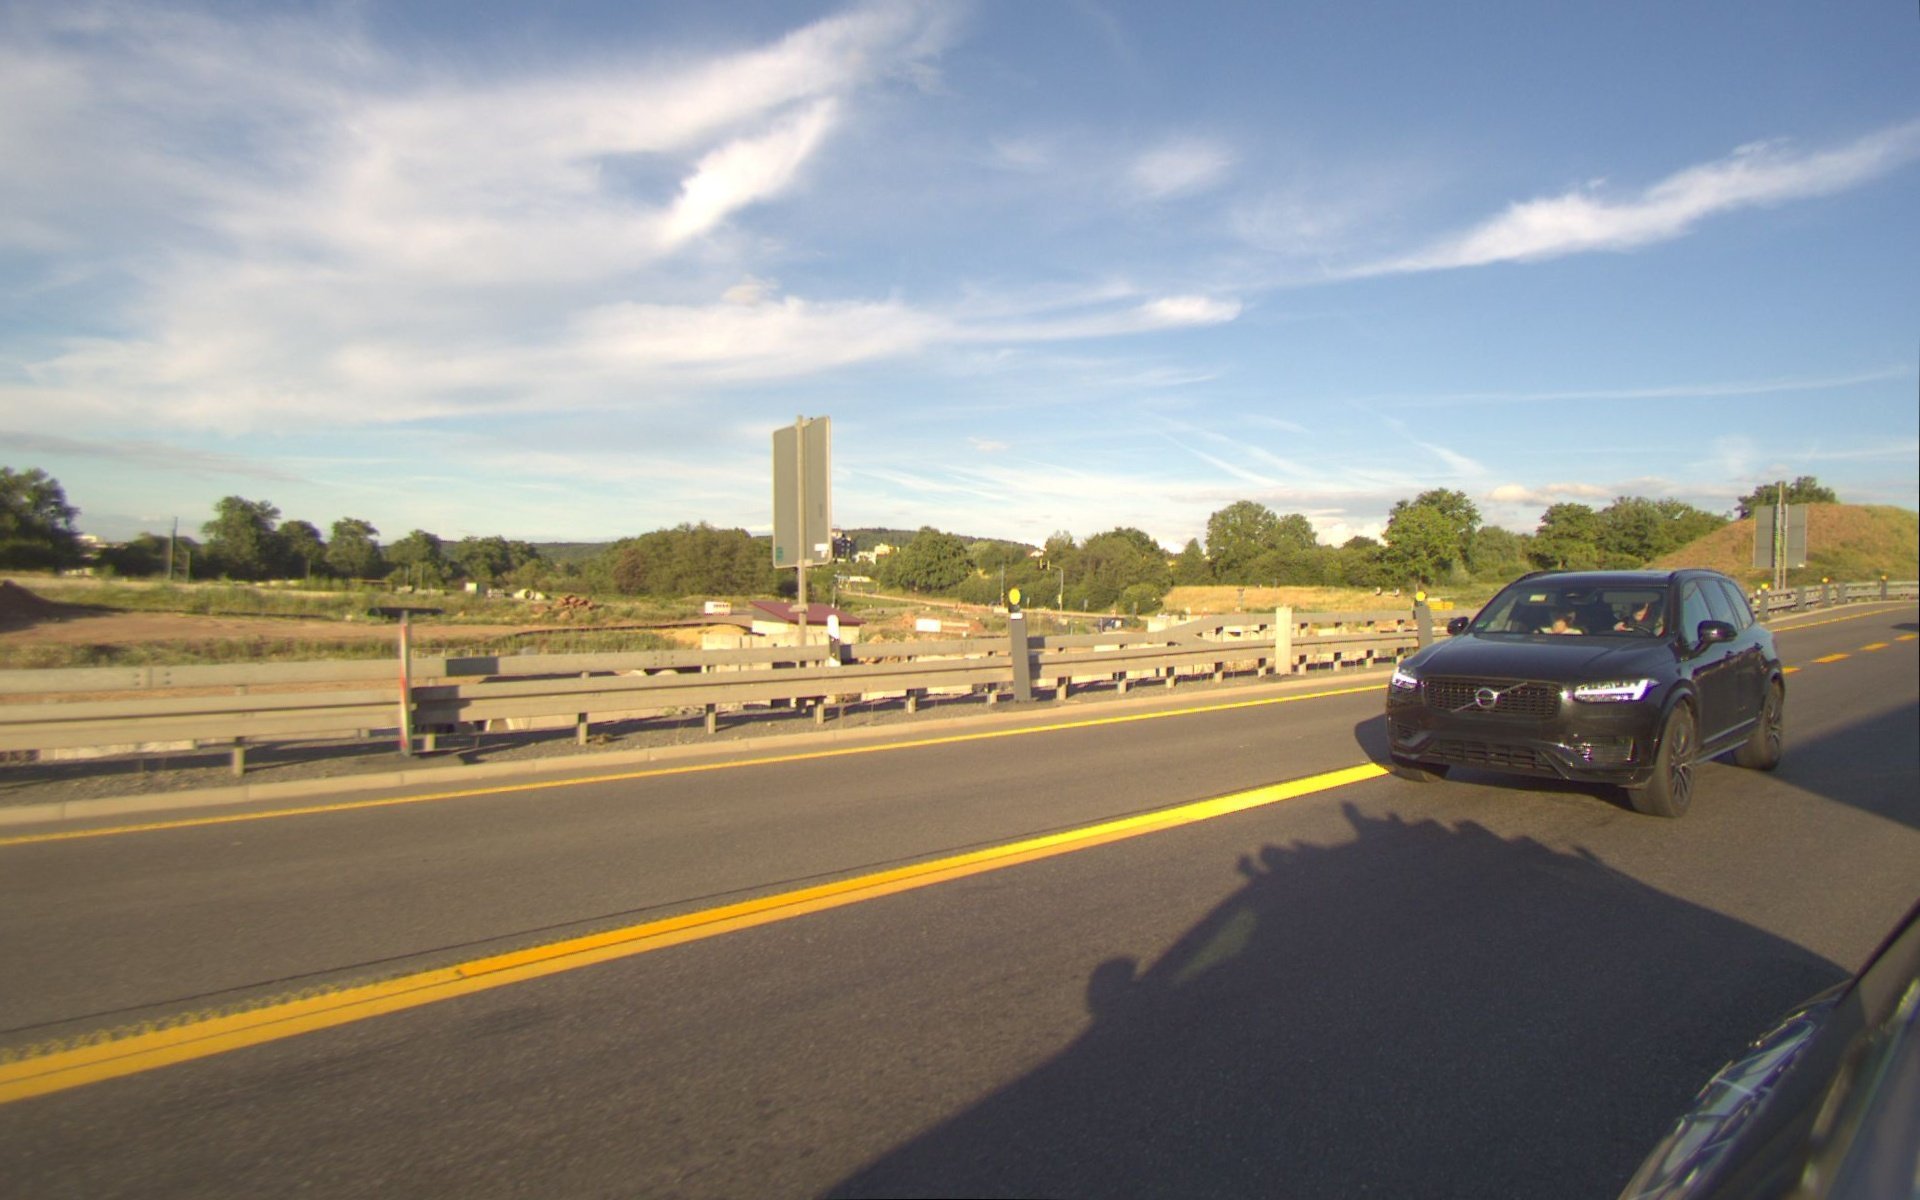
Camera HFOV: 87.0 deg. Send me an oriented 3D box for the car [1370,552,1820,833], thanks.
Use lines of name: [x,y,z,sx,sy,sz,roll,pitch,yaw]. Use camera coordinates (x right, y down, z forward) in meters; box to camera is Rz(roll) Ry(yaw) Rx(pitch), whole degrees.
car: [5.553,0.538,8.552,4.802,1.734,1.901,-1,1,-41]
